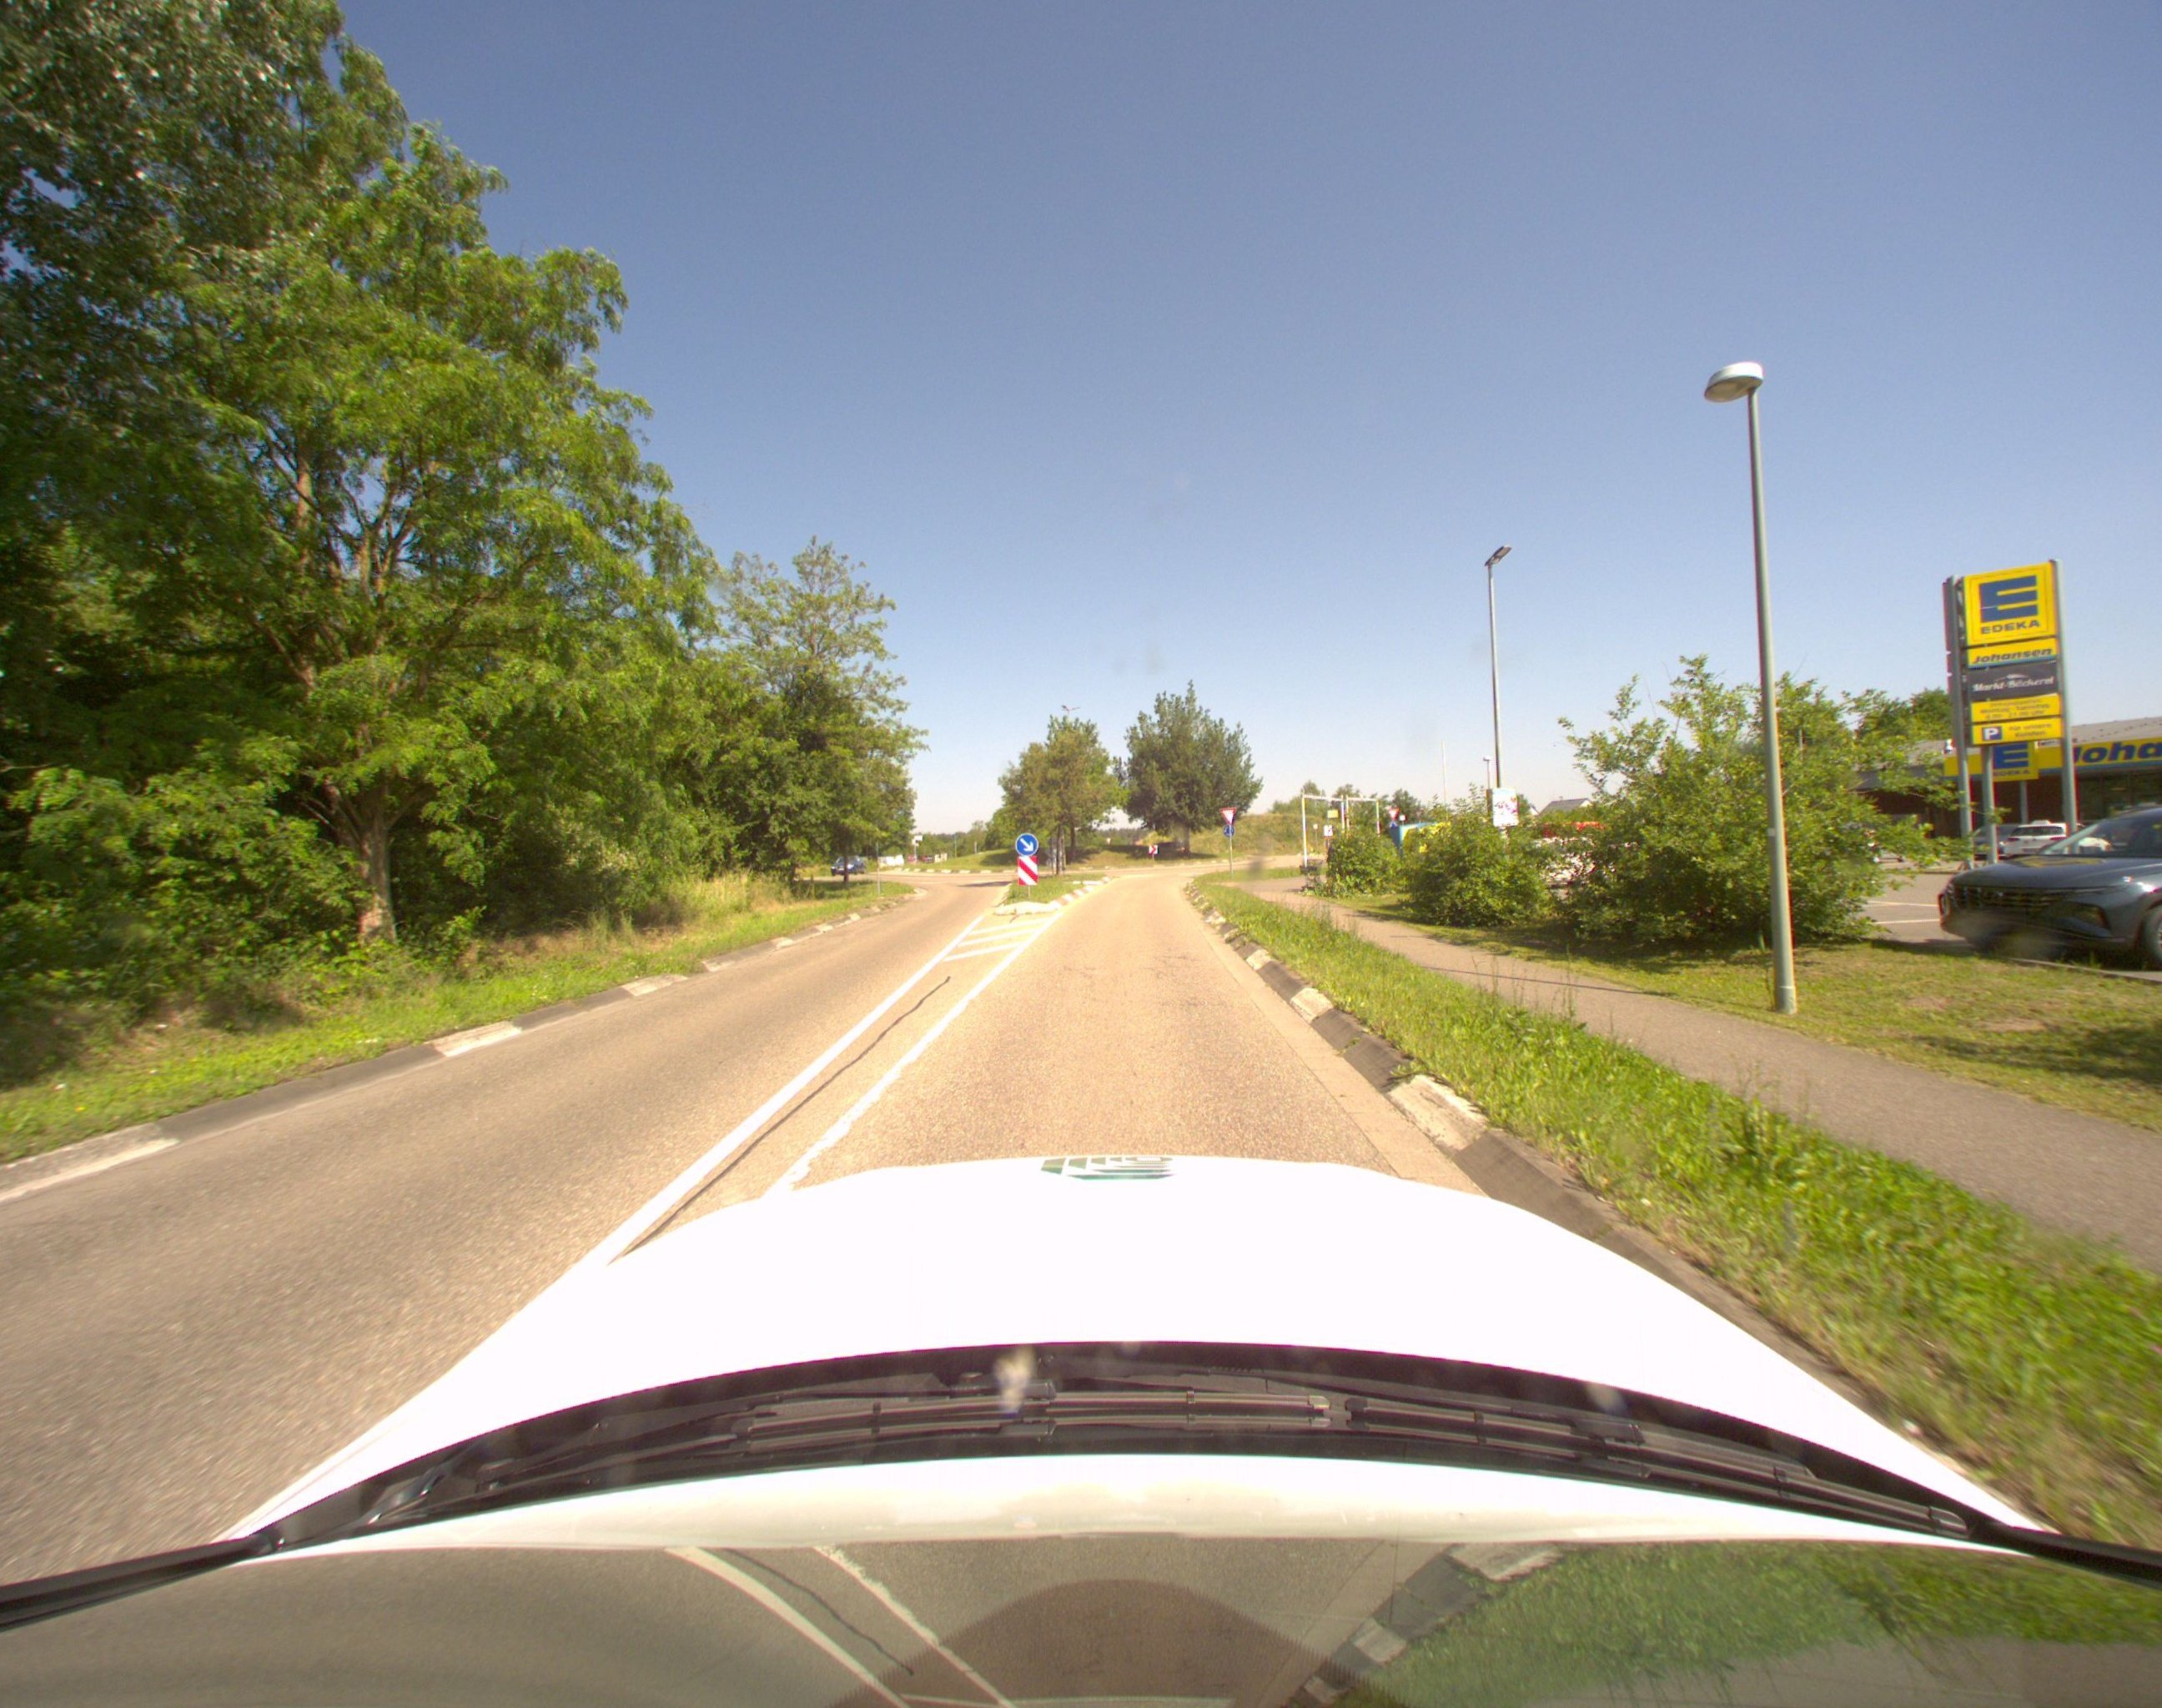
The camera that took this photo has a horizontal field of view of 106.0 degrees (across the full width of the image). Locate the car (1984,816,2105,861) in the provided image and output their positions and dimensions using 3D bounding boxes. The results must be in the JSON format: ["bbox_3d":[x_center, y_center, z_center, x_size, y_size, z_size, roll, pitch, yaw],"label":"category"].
[{"bbox_3d":[35.723,-0.579,30.213,3.491,1.497,1.706,-2,1,-18],"label":"car"}]

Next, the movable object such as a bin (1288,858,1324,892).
[{"bbox_3d":[8.013,0.741,28.960,0.859,1.120,1.464,-2,0,30],"label":"movable object such as a bin"}]

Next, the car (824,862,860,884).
[{"bbox_3d":[-17.288,1.355,58.749,1.841,1.387,4.388,-3,1,-24],"label":"car"}]

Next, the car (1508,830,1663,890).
[{"bbox_3d":[15.359,0.167,24.944,3.582,1.562,1.814,-3,0,0],"label":"car"}]

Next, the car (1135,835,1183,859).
[{"bbox_3d":[7.316,-0.654,76.449,3.948,2.013,2.013,-2,0,36],"label":"car"}]

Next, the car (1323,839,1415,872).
[{"bbox_3d":[15.072,0.091,42.573,4.374,1.571,1.726,-2,1,23],"label":"car"}]

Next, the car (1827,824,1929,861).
[{"bbox_3d":[34.156,-0.501,34.930,3.491,1.457,1.706,-2,1,-18],"label":"car"}]

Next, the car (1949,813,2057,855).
[{"bbox_3d":[39.291,-0.859,34.708,4.005,1.622,1.898,-2,1,-23],"label":"car"}]

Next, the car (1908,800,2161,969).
[{"bbox_3d":[12.153,0.219,9.022,4.103,1.627,1.753,-3,0,1],"label":"car"}]
